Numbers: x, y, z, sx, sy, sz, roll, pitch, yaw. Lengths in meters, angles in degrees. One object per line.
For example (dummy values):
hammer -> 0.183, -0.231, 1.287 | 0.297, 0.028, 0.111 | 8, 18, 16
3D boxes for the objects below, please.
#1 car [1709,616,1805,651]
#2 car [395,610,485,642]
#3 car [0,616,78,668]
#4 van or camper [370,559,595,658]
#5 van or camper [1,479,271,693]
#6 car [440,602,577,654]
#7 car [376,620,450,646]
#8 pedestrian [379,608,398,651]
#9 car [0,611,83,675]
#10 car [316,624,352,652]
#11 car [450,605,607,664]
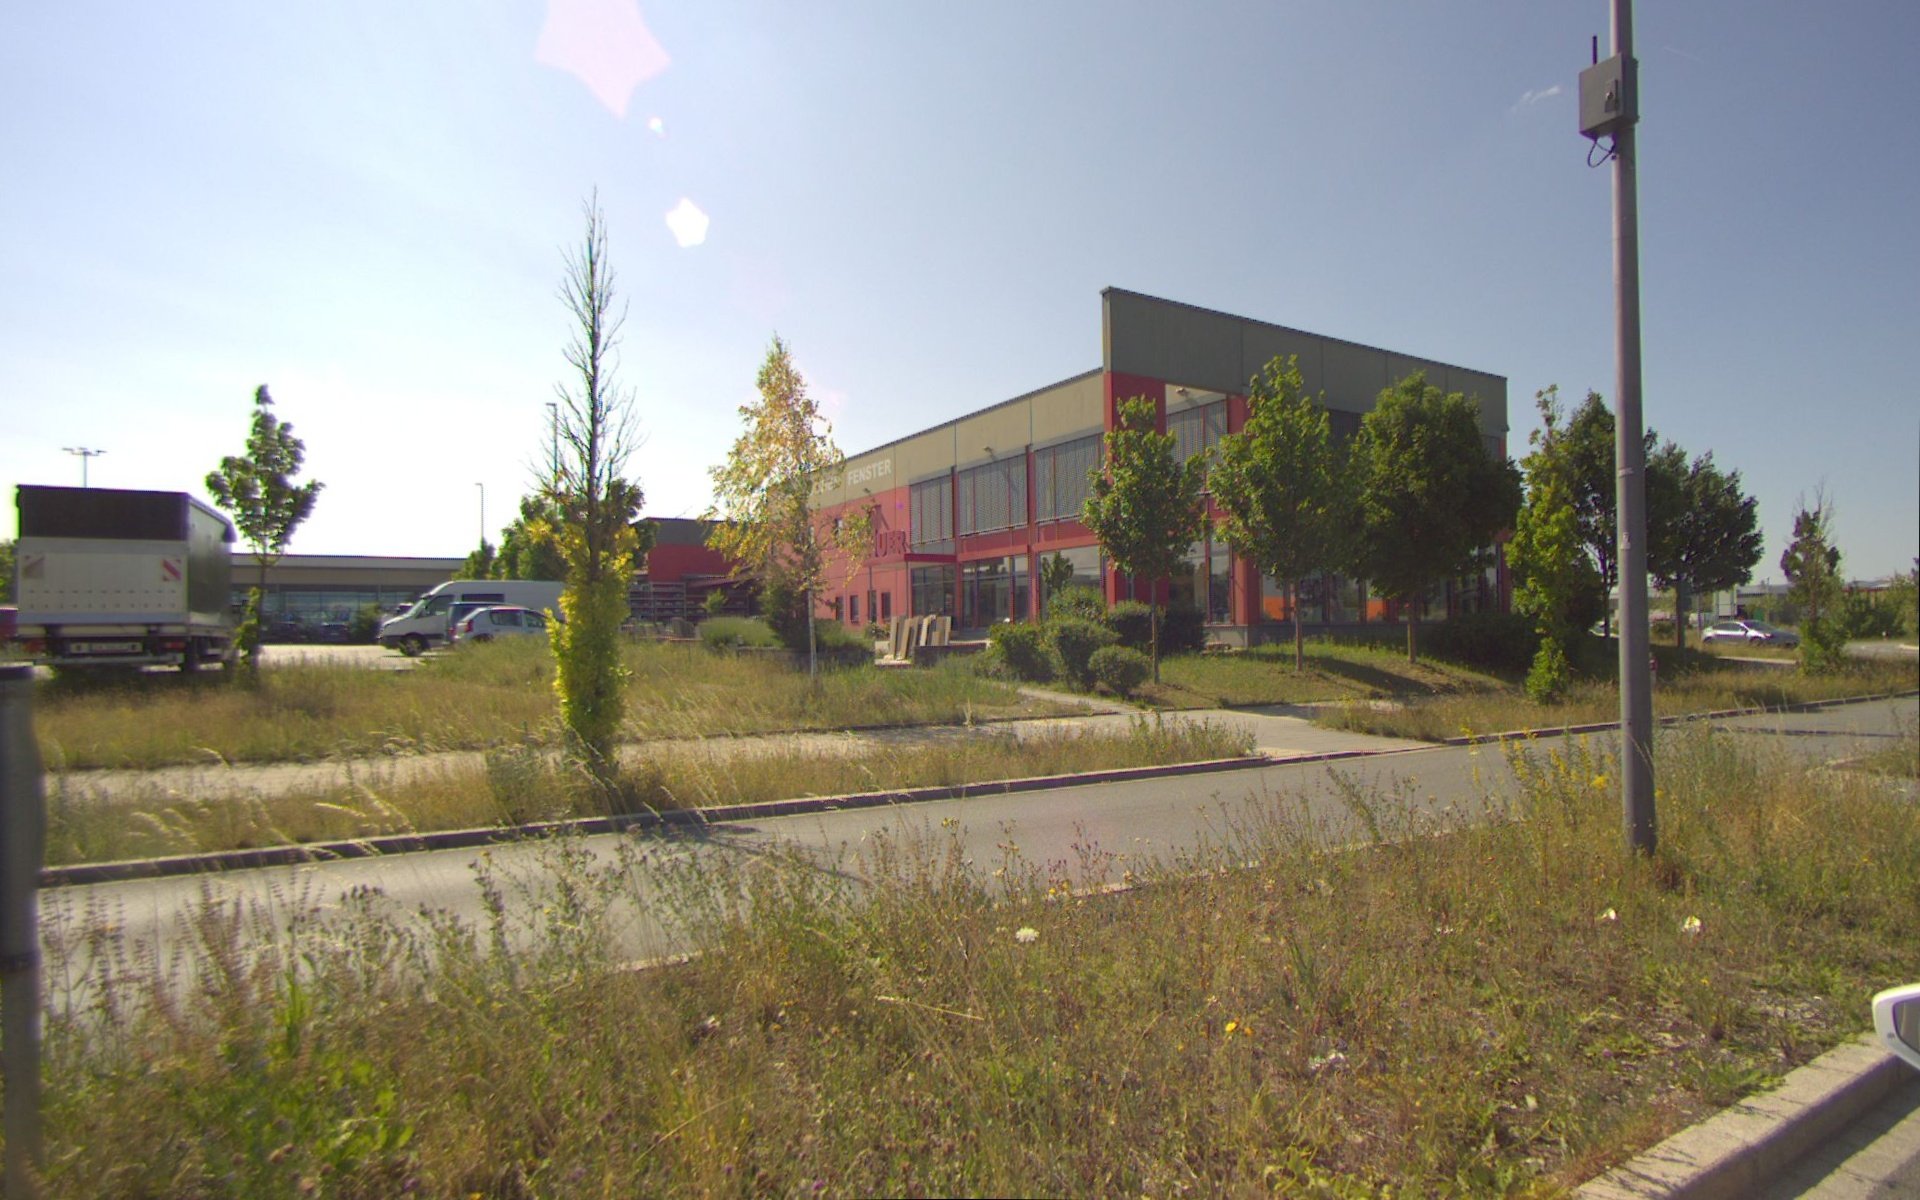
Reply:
car -> 41.654, 1.709, 52.639 | 1.924, 1.647, 4.627 | -2, -1, 10
car -> -27.306, 1.359, 52.818 | 4.041, 1.607, 1.651 | 1, -2, -34
car -> -30.054, 1.279, 30.757 | 4.336, 1.583, 1.821 | 1, -2, -34
van or camper -> -17.296, 0.371, 36.623 | 7.157, 3.314, 2.416 | 1, -2, -33
van or camper -> -16.278, -0.115, 20.513 | 2.522, 3.514, 7.667 | 1, -2, -26
car -> -15.340, 0.951, 34.186 | 4.042, 1.693, 1.650 | 1, -2, -35
car -> -34.958, 2.075, 64.273 | 4.041, 1.617, 1.651 | 1, -2, -34
pedestrian -> -25.211, 1.304, 44.324 | 0.655, 1.865, 0.475 | 1, -2, -35
car -> -27.980, 1.208, 28.547 | 4.336, 1.796, 1.821 | 1, -2, -34
car -> -43.414, 2.636, 69.749 | 1.977, 1.849, 3.968 | 1, -2, -30
car -> -12.752, 1.024, 29.774 | 4.042, 1.636, 1.650 | 1, -2, -35
